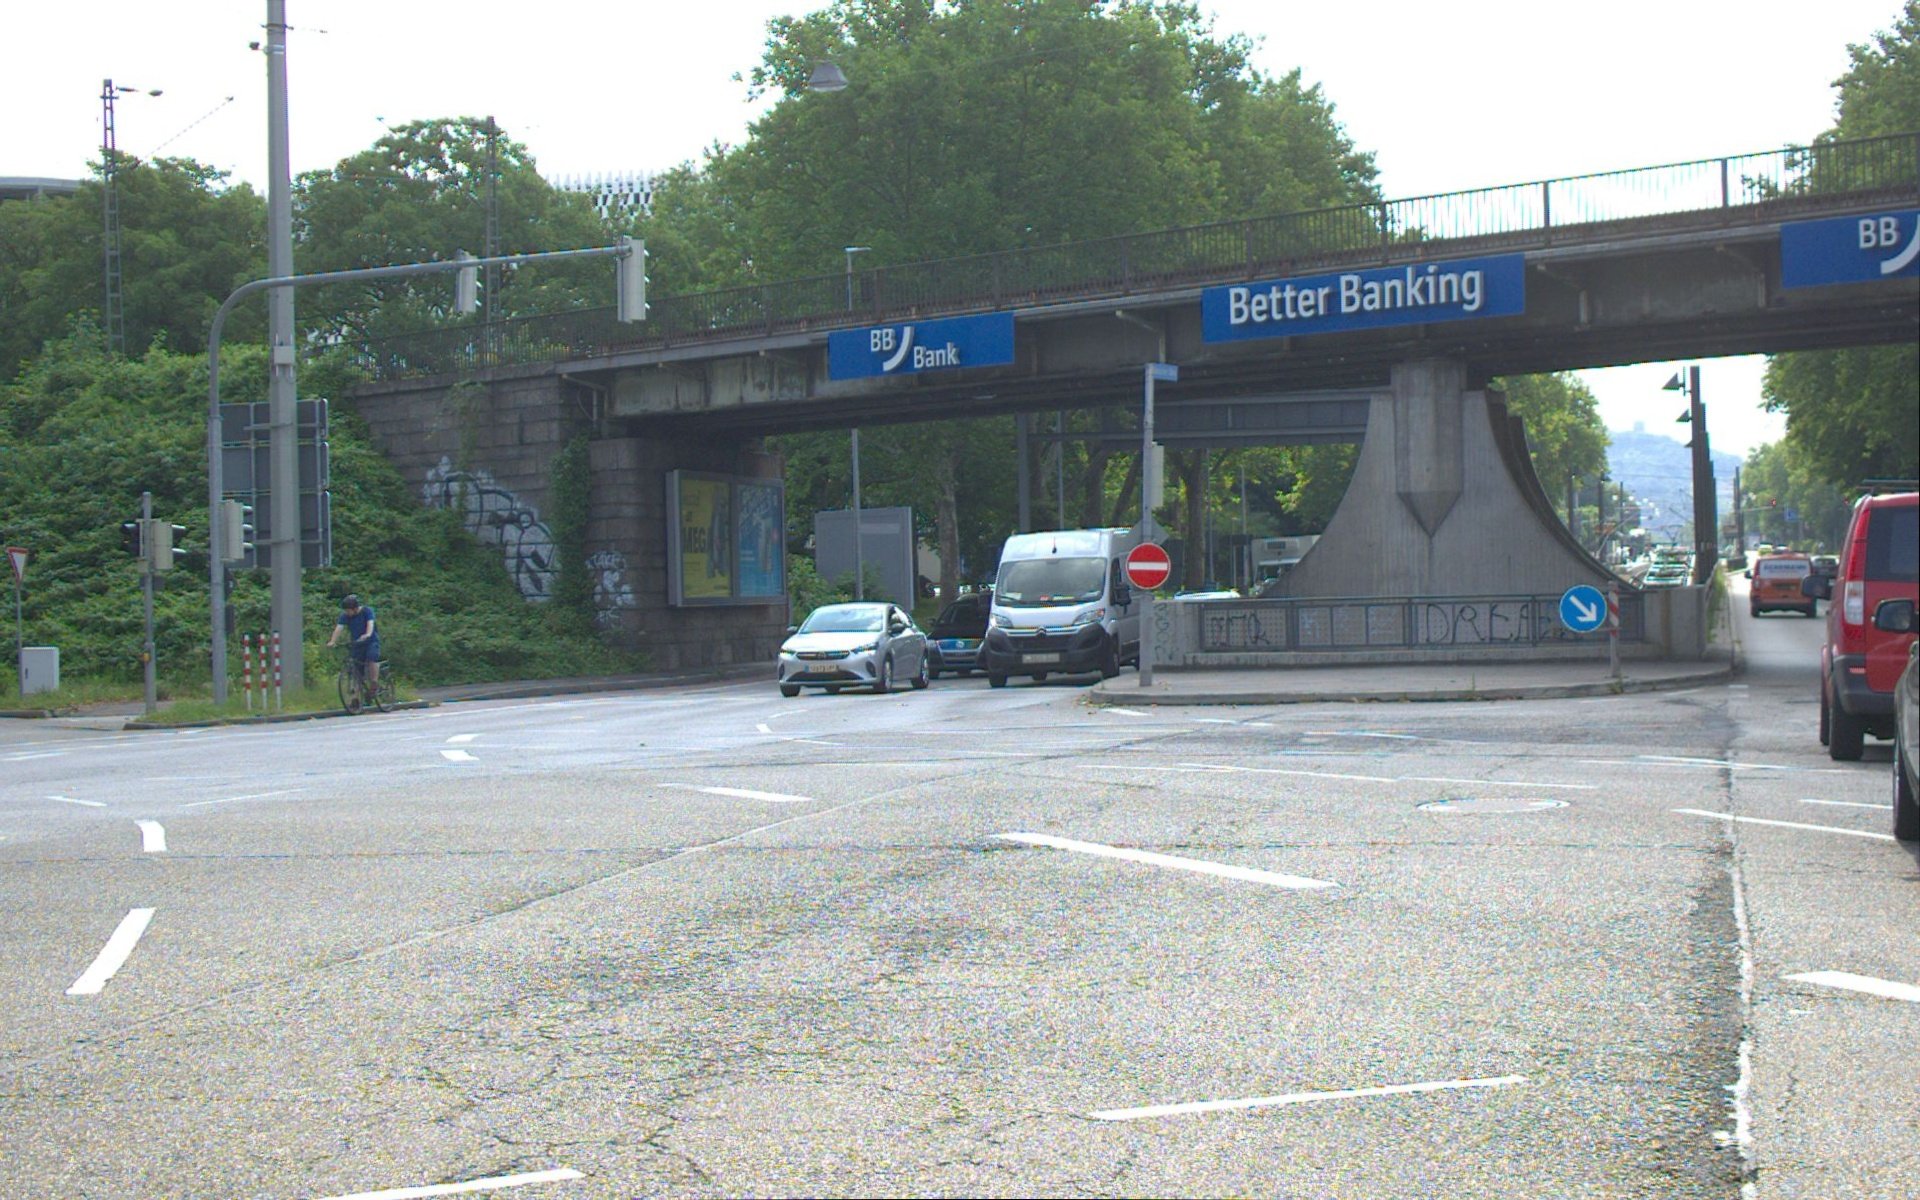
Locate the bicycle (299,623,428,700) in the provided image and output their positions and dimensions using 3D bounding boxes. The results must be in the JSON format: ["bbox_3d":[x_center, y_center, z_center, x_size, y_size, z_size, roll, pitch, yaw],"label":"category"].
[{"bbox_3d":[-8.930,0.912,51.565,0.843,1.090,2.316,-1,0,20],"label":"bicycle"}]

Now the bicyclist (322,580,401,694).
[{"bbox_3d":[-8.965,0.550,51.510,0.843,1.673,0.823,-1,0,20],"label":"bicyclist"}]

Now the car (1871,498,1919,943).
[{"bbox_3d":[4.727,0.383,14.040,1.793,1.603,3.797,-1,1,13],"label":"car"}]

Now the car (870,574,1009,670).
[{"bbox_3d":[-0.339,0.397,63.815,1.765,1.578,4.662,-5,-1,8],"label":"car"}]

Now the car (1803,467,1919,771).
[{"bbox_3d":[7.220,0.101,25.065,1.956,2.010,4.674,1,1,13],"label":"car"}]

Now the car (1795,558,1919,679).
[{"bbox_3d":[12.184,0.246,44.899,1.854,1.516,3.612,-1,-1,24],"label":"car"}]

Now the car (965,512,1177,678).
[{"bbox_3d":[1.885,-0.094,56.160,2.259,2.518,5.623,-2,0,14],"label":"car"}]

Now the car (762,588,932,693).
[{"bbox_3d":[-1.752,0.616,54.711,1.703,1.471,3.998,-5,-1,12],"label":"car"}]

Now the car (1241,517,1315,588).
[{"bbox_3d":[12.216,-1.793,131.681,2.246,2.570,5.623,-2,0,10],"label":"car"}]

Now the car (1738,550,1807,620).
[{"bbox_3d":[24.479,-0.483,103.675,1.956,2.010,4.674,1,1,13],"label":"car"}]
